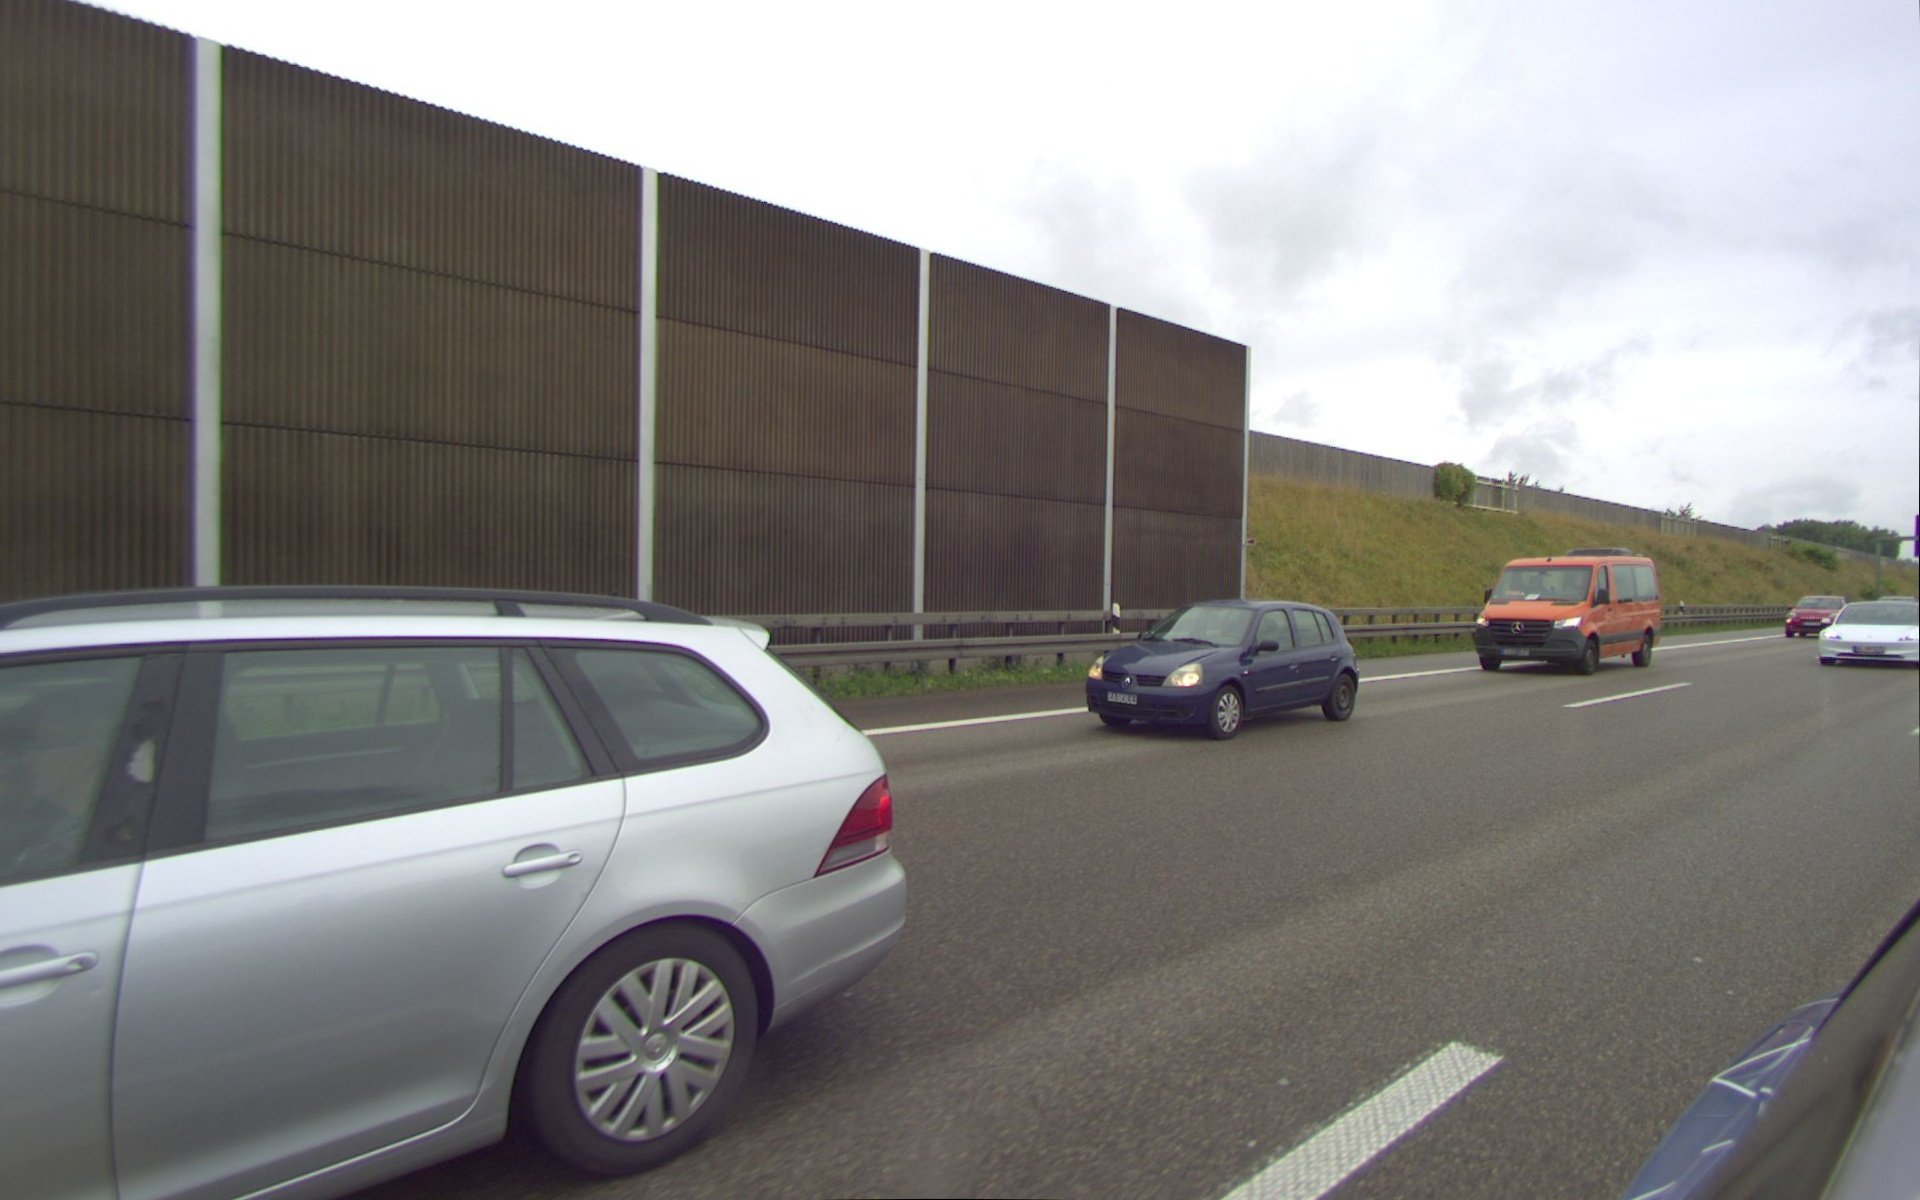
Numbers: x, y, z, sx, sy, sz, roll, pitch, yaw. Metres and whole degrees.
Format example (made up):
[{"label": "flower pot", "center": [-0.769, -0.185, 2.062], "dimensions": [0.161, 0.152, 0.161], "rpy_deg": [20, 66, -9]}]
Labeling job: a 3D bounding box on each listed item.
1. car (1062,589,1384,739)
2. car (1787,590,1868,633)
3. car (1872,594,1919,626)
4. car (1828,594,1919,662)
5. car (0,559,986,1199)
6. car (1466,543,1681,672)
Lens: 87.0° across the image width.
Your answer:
[{"label": "car", "center": [3.110, 0.604, 11.611], "dimensions": [3.807, 1.419, 1.705], "rpy_deg": [-1, 0, -40]}, {"label": "car", "center": [33.569, 0.414, 39.119], "dimensions": [3.931, 1.555, 1.876], "rpy_deg": [-1, 0, -42]}, {"label": "car", "center": [46.841, 0.478, 50.201], "dimensions": [4.409, 1.508, 1.927], "rpy_deg": [-1, 0, -42]}, {"label": "car", "center": [21.438, 0.571, 23.070], "dimensions": [4.730, 1.380, 1.876], "rpy_deg": [-1, 0, -42]}, {"label": "car", "center": [-2.155, 0.633, 2.442], "dimensions": [4.438, 1.443, 1.745], "rpy_deg": [0, 1, -41]}, {"label": "car", "center": [12.967, 0.121, 21.191], "dimensions": [6.073, 2.344, 2.089], "rpy_deg": [0, 0, -41]}]
